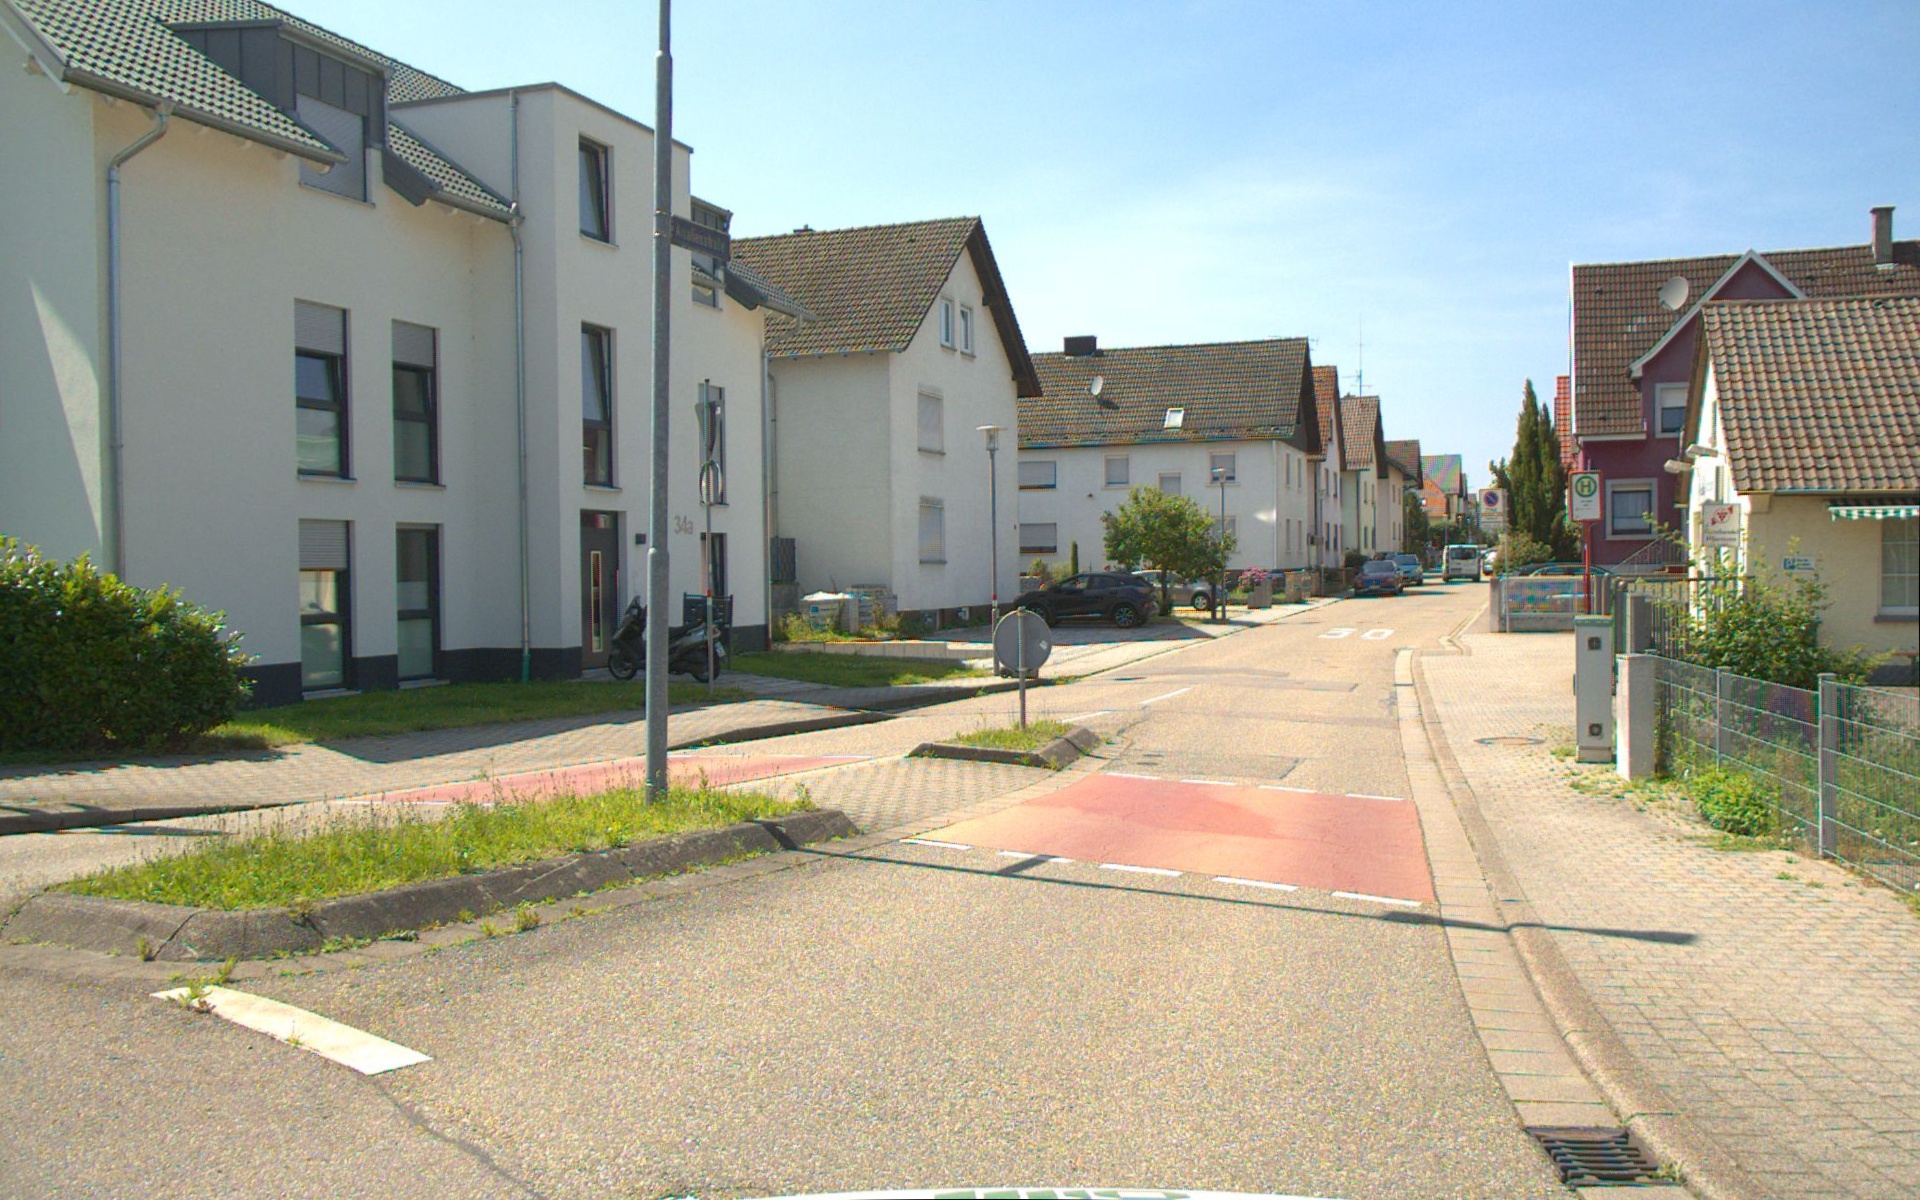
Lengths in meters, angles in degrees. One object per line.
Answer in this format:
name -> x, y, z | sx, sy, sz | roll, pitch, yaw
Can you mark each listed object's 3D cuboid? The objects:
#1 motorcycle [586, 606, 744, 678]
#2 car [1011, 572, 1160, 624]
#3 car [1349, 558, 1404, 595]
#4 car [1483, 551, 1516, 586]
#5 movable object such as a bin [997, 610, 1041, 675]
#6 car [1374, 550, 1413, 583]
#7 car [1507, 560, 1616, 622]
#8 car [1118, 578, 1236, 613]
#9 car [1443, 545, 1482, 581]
motorcycle -> -4.375, 0.601, 24.469 | 2.313, 1.031, 0.671 | 0, -1, 23
car -> 3.522, -0.056, 46.308 | 3.903, 1.407, 1.661 | 0, 1, 17
car -> 18.306, -1.047, 72.611 | 1.952, 1.580, 4.001 | 0, 1, 20
car -> 33.929, -1.971, 104.003 | 1.911, 2.109, 4.001 | -1, 0, 19
movable object such as a bin -> 1.019, 0.734, 28.728 | 0.632, 1.102, 0.458 | 0, 1, 27
car -> 22.665, -1.745, 86.550 | 1.883, 1.632, 4.003 | 0, 1, 14
car -> 16.035, -0.224, 44.125 | 2.687, 1.626, 1.172 | -1, -1, 20
car -> 7.688, -0.163, 58.620 | 3.903, 1.211, 1.842 | 0, 1, 17
car -> 27.124, -1.985, 89.227 | 1.813, 1.818, 4.001 | -1, 0, 19
